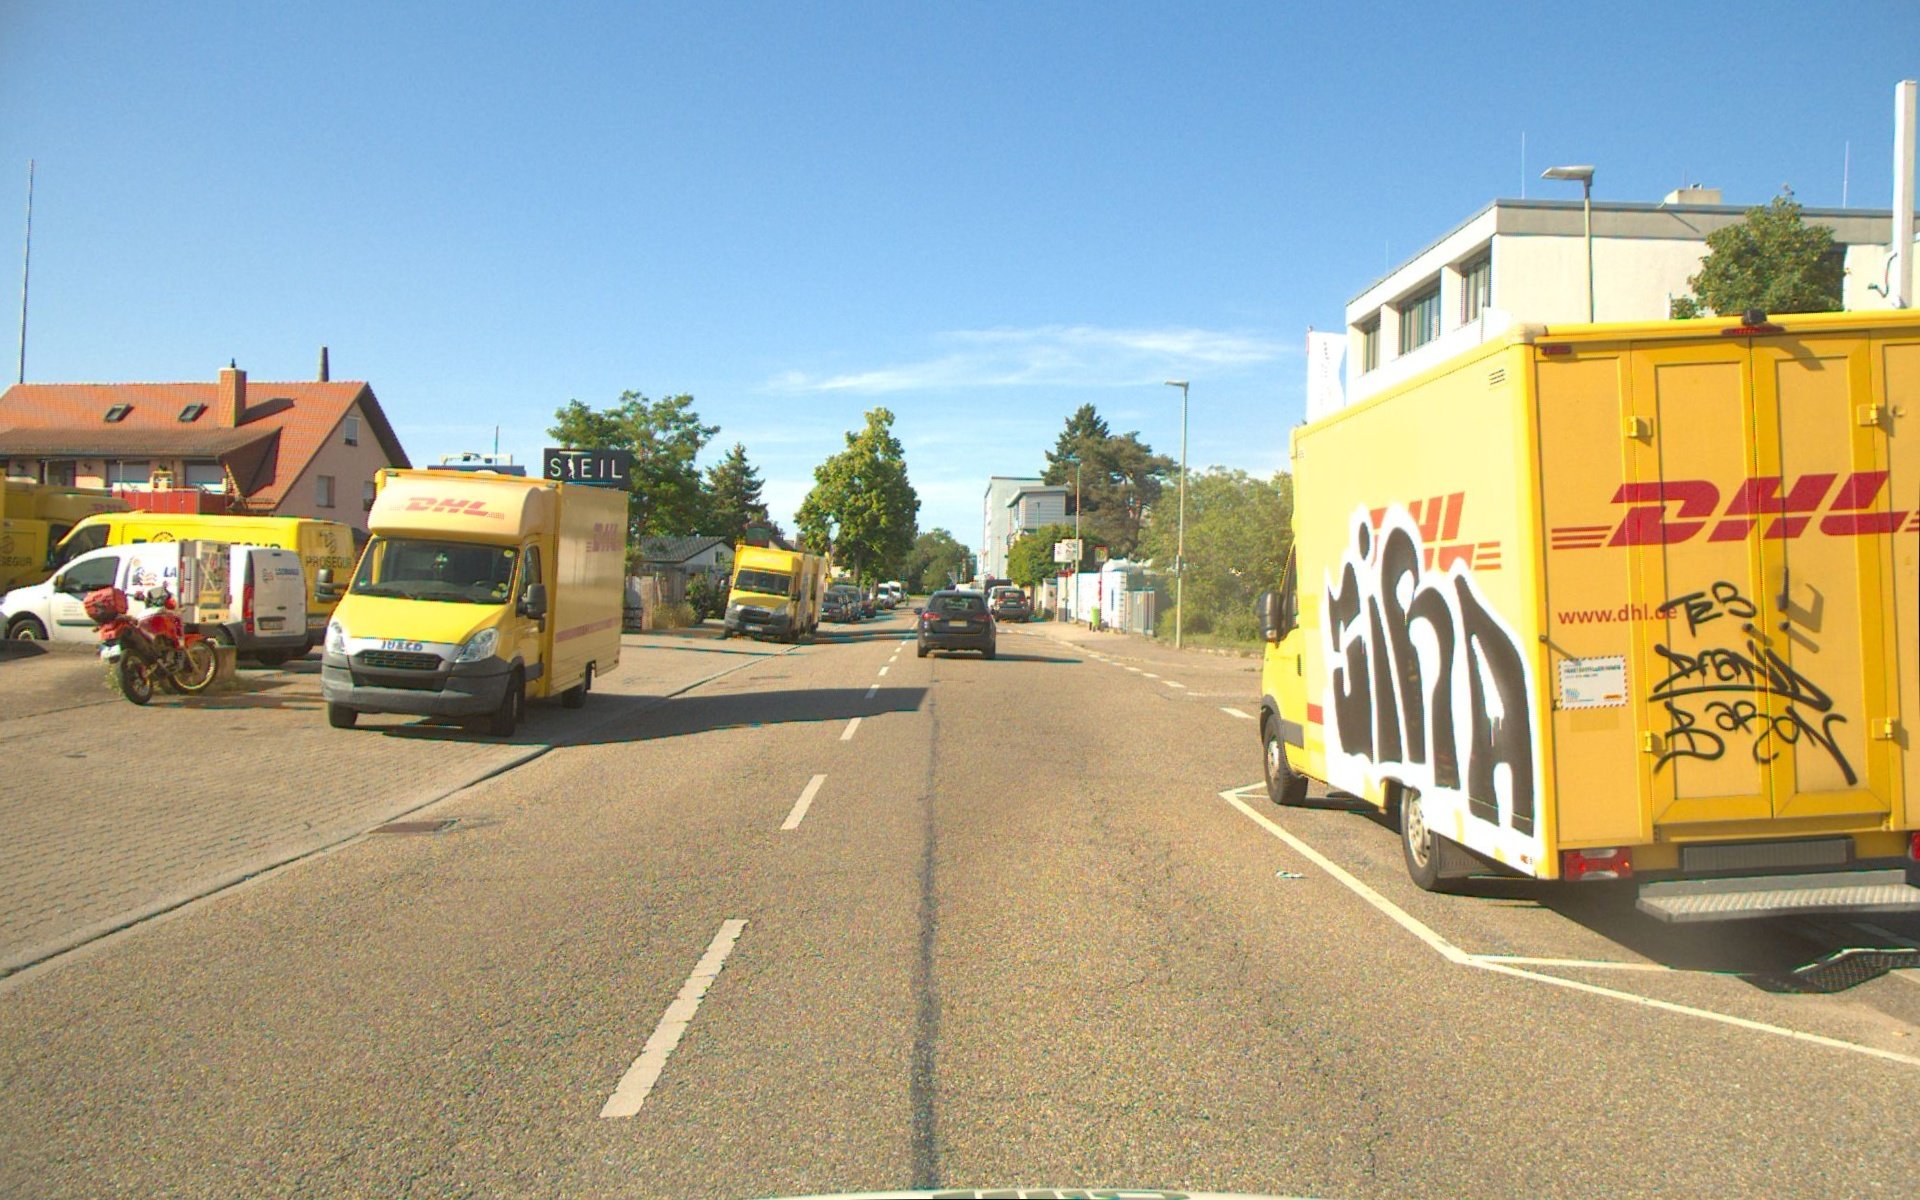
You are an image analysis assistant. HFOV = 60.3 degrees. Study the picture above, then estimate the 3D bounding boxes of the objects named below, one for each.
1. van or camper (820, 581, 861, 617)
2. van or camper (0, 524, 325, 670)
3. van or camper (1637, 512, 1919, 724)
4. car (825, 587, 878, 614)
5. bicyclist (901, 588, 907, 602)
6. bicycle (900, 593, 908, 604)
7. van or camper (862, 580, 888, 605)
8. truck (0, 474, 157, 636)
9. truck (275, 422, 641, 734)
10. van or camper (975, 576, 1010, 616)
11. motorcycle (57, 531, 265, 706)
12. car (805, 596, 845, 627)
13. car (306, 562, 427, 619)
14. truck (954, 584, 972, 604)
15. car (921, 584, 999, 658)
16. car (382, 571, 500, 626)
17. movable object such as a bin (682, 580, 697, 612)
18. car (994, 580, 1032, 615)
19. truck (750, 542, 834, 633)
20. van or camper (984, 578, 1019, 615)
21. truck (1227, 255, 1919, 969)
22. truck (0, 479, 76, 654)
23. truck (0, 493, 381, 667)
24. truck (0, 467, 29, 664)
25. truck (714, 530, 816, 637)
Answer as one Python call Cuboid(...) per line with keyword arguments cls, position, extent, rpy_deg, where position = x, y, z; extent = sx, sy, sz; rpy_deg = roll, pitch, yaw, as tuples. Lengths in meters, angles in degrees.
Cuboid(cls="van or camper", position=(-6.491, -0.045, 90.211), extent=(1.852, 1.959, 4.266), rpy_deg=(0, 0, 0))
Cuboid(cls="van or camper", position=(-12.354, -0.062, 25.181), extent=(4.447, 2.049, 2.252), rpy_deg=(1, 0, 6))
Cuboid(cls="van or camper", position=(12.157, 0.246, 22.407), extent=(5.740, 2.585, 2.272), rpy_deg=(1, 0, -26))
Cuboid(cls="car", position=(-6.369, -0.007, 96.895), extent=(1.852, 1.511, 4.013), rpy_deg=(-1, 1, -24))
Cuboid(cls="bicyclist", position=(-6.036, -0.554, 178.567), extent=(0.681, 1.566, 0.635), rpy_deg=(1, 0, -3))
Cuboid(cls="bicycle", position=(-6.018, -0.209, 178.489), extent=(0.812, 1.173, 2.939), rpy_deg=(1, 0, -2))
Cuboid(cls="van or camper", position=(-8.333, -0.724, 161.602), extent=(2.278, 2.403, 6.522), rpy_deg=(1, 0, -5))
Cuboid(cls="truck", position=(-19.177, -0.901, 32.534), extent=(5.961, 3.024, 2.175), rpy_deg=(1, 0, 12))
Cuboid(cls="truck", position=(-5.762, -0.236, 20.313), extent=(2.354, 3.035, 7.243), rpy_deg=(3, 0, -2))
Cuboid(cls="van or camper", position=(1.981, -0.266, 101.070), extent=(1.953, 2.351, 4.000), rpy_deg=(1, 0, -1))
Cuboid(cls="motorcycle", position=(-9.573, 0.180, 20.002), extent=(0.765, 1.905, 3.042), rpy_deg=(4, 1, 3))
Cuboid(cls="car", position=(-6.549, 0.536, 80.384), extent=(1.721, 1.428, 4.555), rpy_deg=(1, 0, -2))
Cuboid(cls="car", position=(-18.623, -0.303, 52.090), extent=(1.658, 1.690, 4.048), rpy_deg=(1, 0, 13))
Cuboid(cls="truck", position=(0.357, -0.748, 195.328), extent=(1.953, 2.327, 6.954), rpy_deg=(1, 0, -1))
Cuboid(cls="car", position=(0.016, 0.432, 37.439), extent=(1.676, 1.559, 3.687), rpy_deg=(1, 1, 0))
Cuboid(cls="car", position=(-16.051, -0.065, 51.326), extent=(1.658, 1.606, 4.048), rpy_deg=(1, 1, 13))
Cuboid(cls="movable object such as a bin", position=(-11.709, -0.167, 71.625), extent=(0.573, 1.363, 0.549), rpy_deg=(1, 0, -1))
Cuboid(cls="car", position=(2.875, -0.142, 90.365), extent=(1.880, 1.857, 4.079), rpy_deg=(1, 0, -1))
Cuboid(cls="truck", position=(-5.909, -0.437, 59.092), extent=(2.148, 2.952, 6.439), rpy_deg=(3, 0, 0))
Cuboid(cls="van or camper", position=(2.398, -0.227, 95.942), extent=(1.880, 2.055, 4.079), rpy_deg=(1, 0, -1))
Cuboid(cls="truck", position=(3.507, 0.031, 10.509), extent=(2.354, 2.988, 7.015), rpy_deg=(-1, 0, -1))
Cuboid(cls="truck", position=(-18.963, -0.628, 29.717), extent=(5.221, 3.024, 2.175), rpy_deg=(1, 0, 12))
Cuboid(cls="truck", position=(-13.228, -0.362, 28.350), extent=(5.795, 2.612, 2.226), rpy_deg=(3, 0, 11))
Cuboid(cls="truck", position=(-18.323, -0.693, 26.432), extent=(5.548, 3.173, 2.525), rpy_deg=(3, 0, 10))
Cuboid(cls="truck", position=(-6.023, -0.507, 51.975), extent=(2.354, 3.035, 6.373), rpy_deg=(3, 0, 0))
